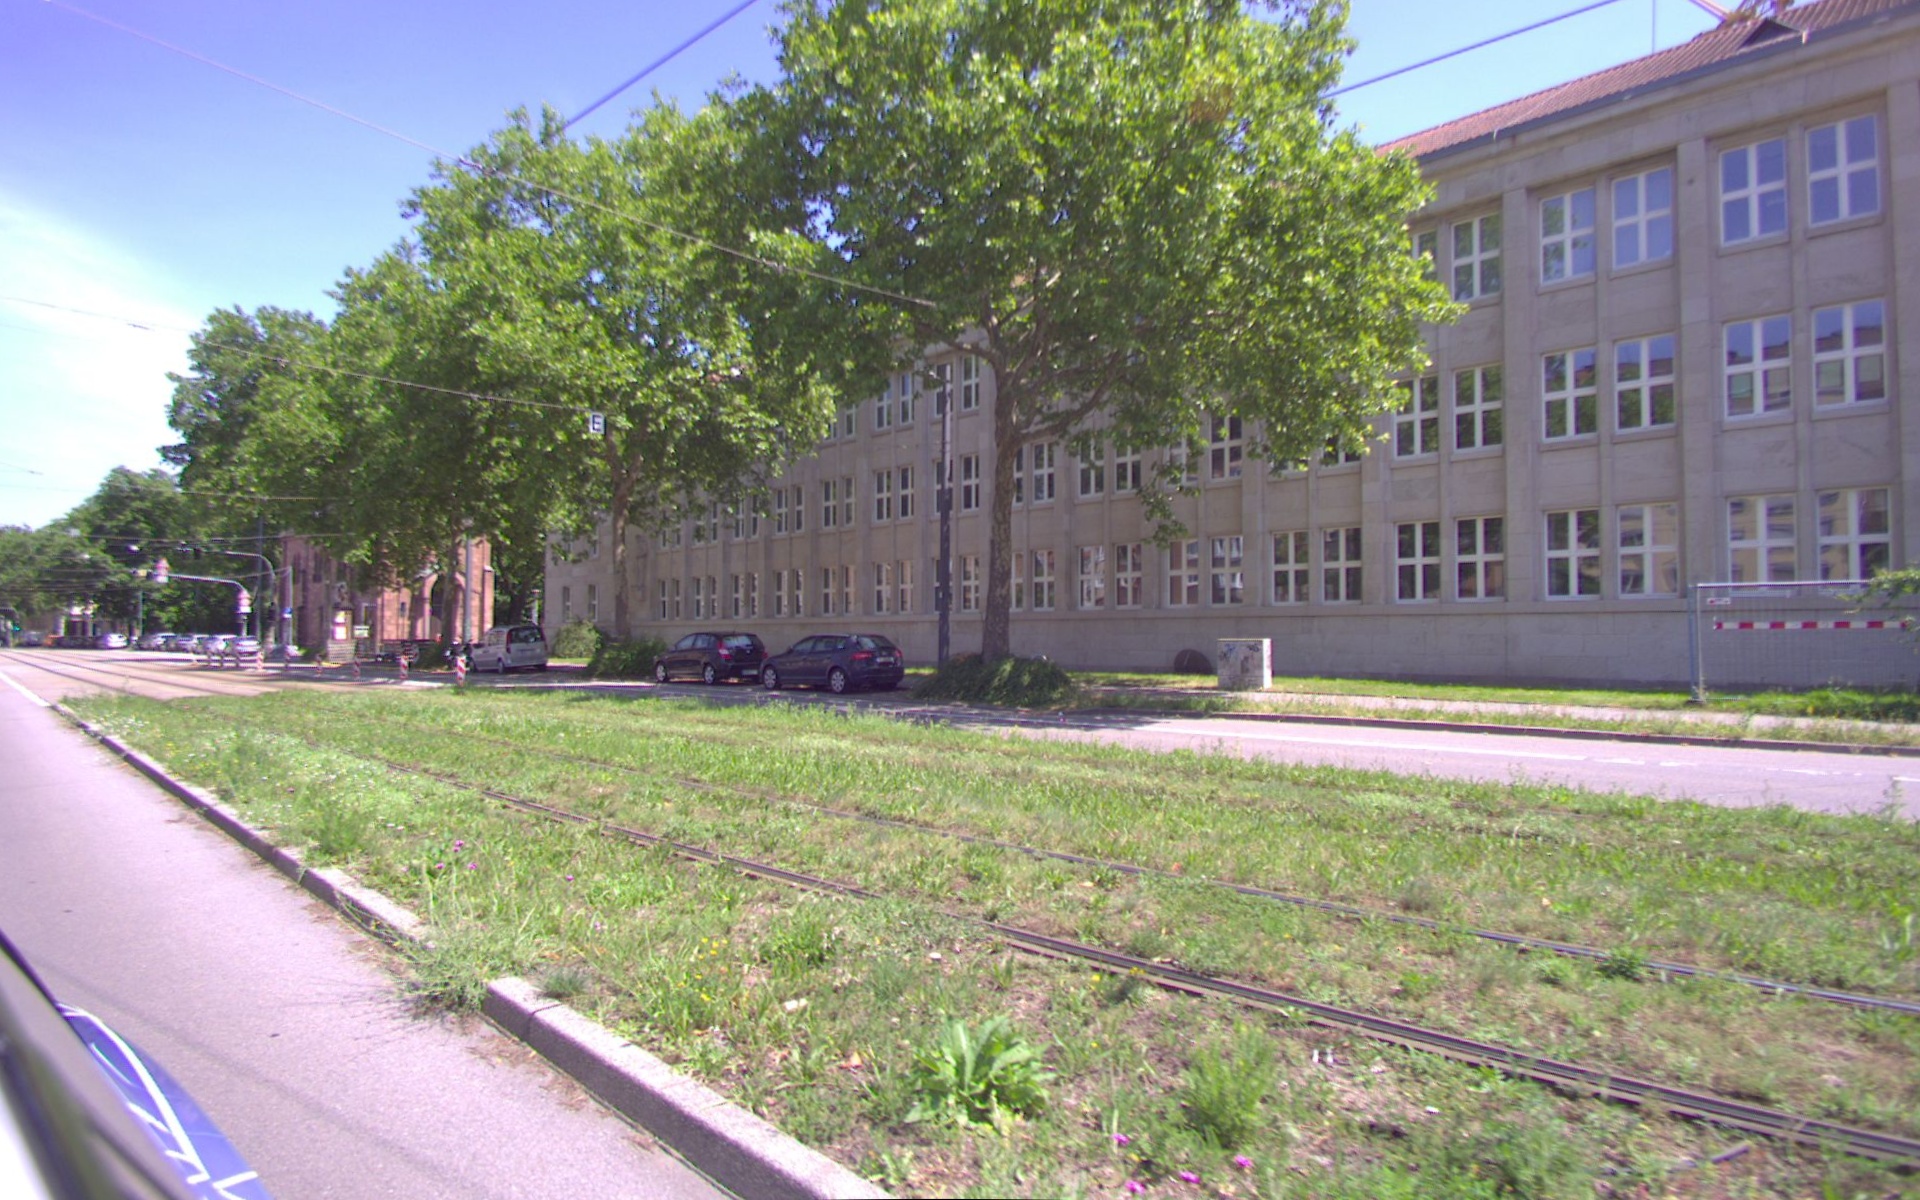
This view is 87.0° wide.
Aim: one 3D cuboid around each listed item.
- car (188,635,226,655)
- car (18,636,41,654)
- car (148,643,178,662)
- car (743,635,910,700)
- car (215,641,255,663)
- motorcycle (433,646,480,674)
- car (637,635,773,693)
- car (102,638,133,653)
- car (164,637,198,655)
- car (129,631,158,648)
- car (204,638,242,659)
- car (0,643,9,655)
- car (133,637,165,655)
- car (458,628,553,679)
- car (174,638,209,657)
[{"bbox_3d":[-58.948,3.523,79.201,4.058,1.470,1.640,-2,-2,43],"label":"car"},{"bbox_3d":[-120.677,5.822,131.218,3.760,2.314,1.797,-2,-2,42],"label":"car"},{"bbox_3d":[-74.092,4.852,94.098,1.723,1.665,3.907,1,-2,-45],"label":"car"},{"bbox_3d":[-3.315,1.583,24.638,4.320,1.434,1.571,-2,-2,41],"label":"car"},{"bbox_3d":[-51.781,3.678,72.273,4.222,1.470,1.639,-2,-2,44],"label":"car"},{"bbox_3d":[-20.978,2.498,42.201,0.720,1.076,1.864,-1,0,13],"label":"motorcycle"},{"bbox_3d":[-7.248,1.744,28.512,4.325,1.494,1.743,-2,-2,45],"label":"car"},{"bbox_3d":[-91.169,4.954,109.519,3.998,1.575,1.951,-2,-2,41],"label":"car"},{"bbox_3d":[-66.706,3.916,86.647,3.753,1.535,1.724,-2,-2,43],"label":"car"},{"bbox_3d":[-83.320,4.033,103.246,3.733,1.704,1.800,-2,-2,44],"label":"car"},{"bbox_3d":[-55.323,3.635,75.913,4.060,1.470,1.639,-2,-2,44],"label":"car"},{"bbox_3d":[-120.022,6.108,126.119,4.345,1.405,1.728,-2,-1,41],"label":"car"},{"bbox_3d":[-79.467,4.478,99.097,4.001,1.731,1.971,-2,-2,44],"label":"car"},{"bbox_3d":[-17.483,2.020,38.838,1.970,1.825,4.304,1,-2,-44],"label":"car"},{"bbox_3d":[-62.907,3.880,82.822,3.753,1.470,1.724,-2,-2,43],"label":"car"}]
